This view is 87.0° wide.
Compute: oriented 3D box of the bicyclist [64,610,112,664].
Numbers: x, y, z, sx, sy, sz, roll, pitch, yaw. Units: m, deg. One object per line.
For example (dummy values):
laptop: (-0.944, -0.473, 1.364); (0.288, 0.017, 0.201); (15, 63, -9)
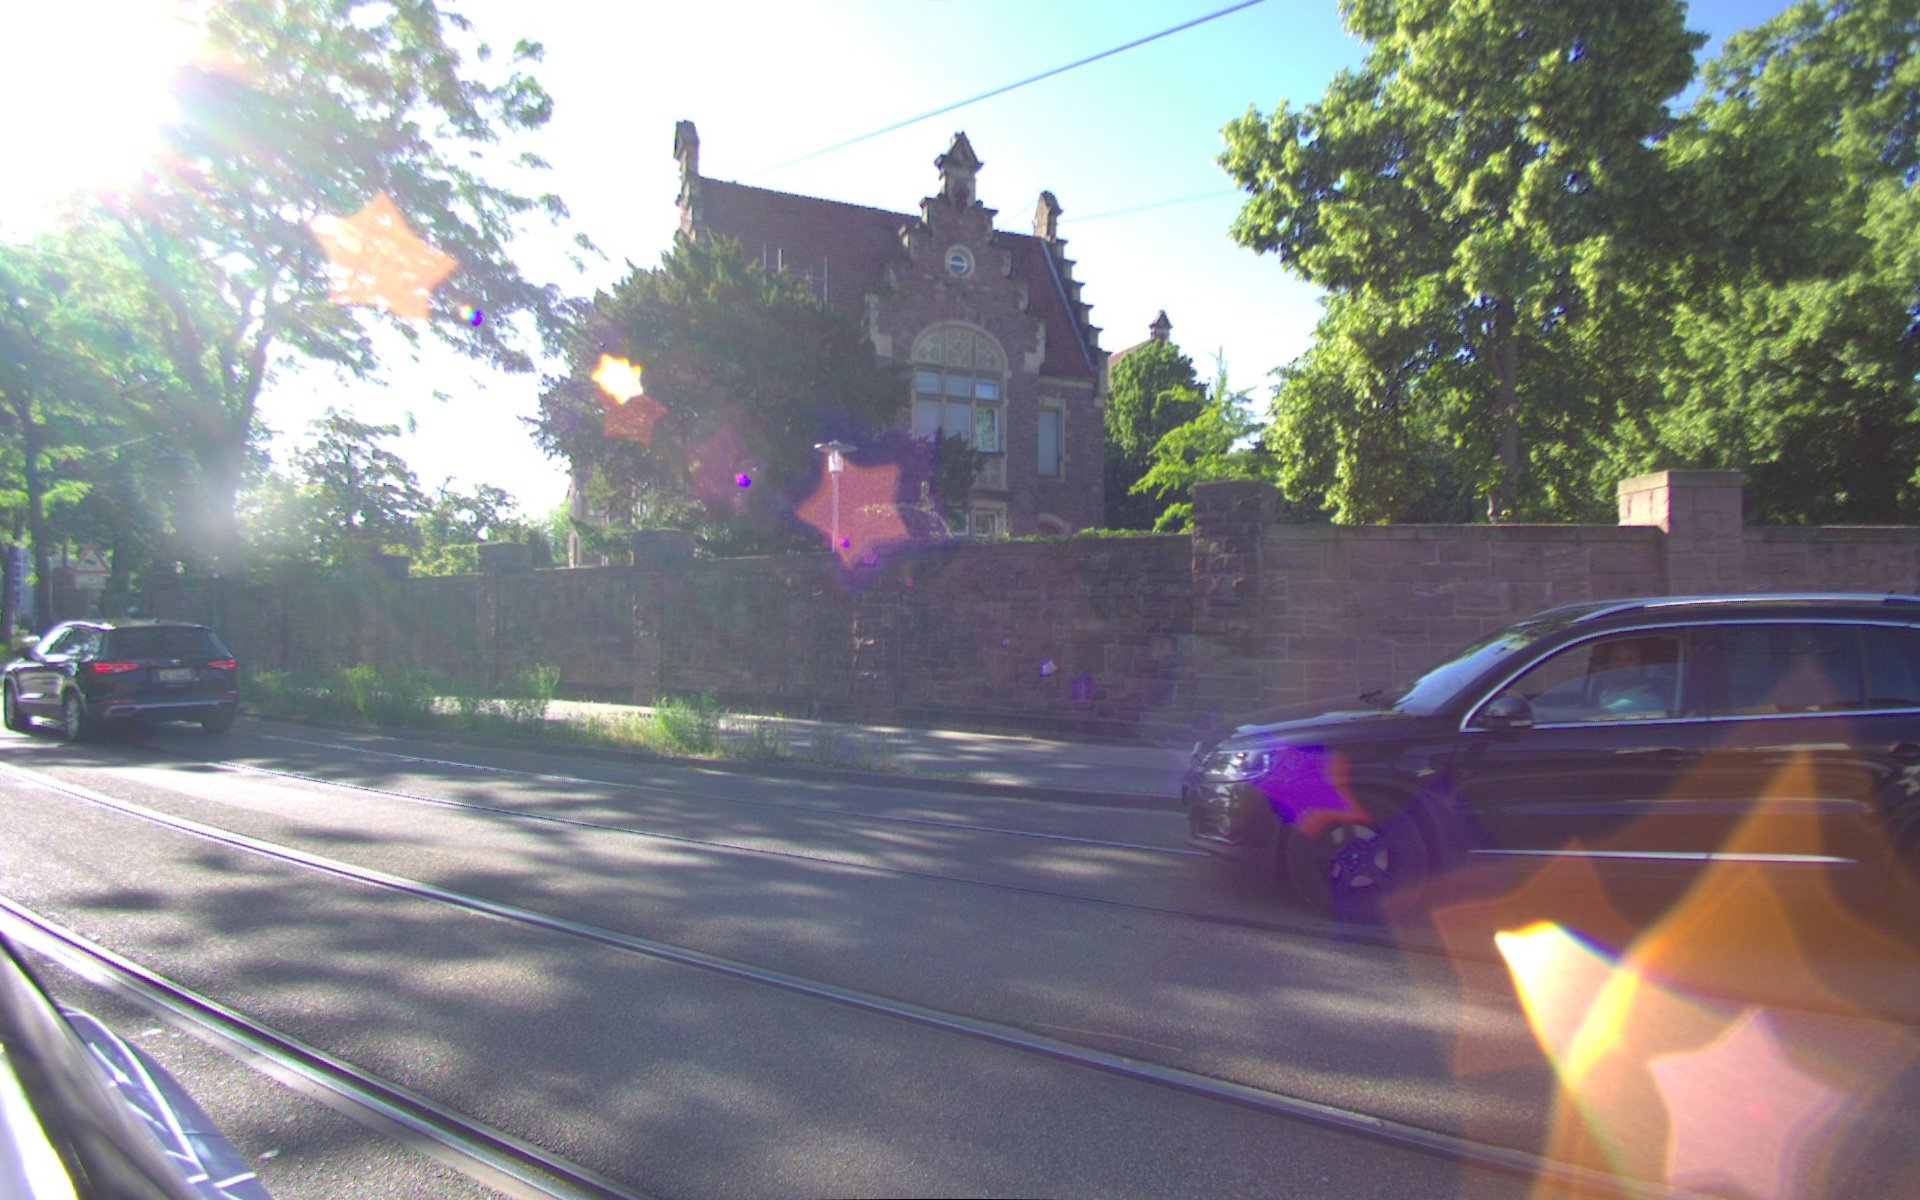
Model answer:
bicyclist: (-23.497, 0.986, 27.267); (1.271, 1.401, 0.759); (-1, -1, 39)

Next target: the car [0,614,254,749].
car: (-11.937, 1.092, 14.167); (4.103, 1.629, 1.907); (-3, -2, 31)

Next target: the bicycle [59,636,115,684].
bicycle: (-23.595, 1.590, 27.338); (2.100, 1.200, 0.765); (-1, -1, 39)

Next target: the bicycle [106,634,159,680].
bicycle: (-23.041, 1.567, 28.161); (2.086, 1.200, 0.724); (-1, -1, 39)

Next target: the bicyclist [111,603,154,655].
bicyclist: (-23.040, 0.792, 28.172); (1.059, 1.401, 0.725); (-1, -1, 39)

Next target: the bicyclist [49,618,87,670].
bicyclist: (-26.878, 1.309, 30.508); (0.750, 1.546, 0.735); (-1, -1, 38)

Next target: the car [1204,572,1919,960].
car: (3.453, 0.744, 5.450); (4.083, 1.650, 1.792); (0, -2, 17)

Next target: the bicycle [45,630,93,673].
bicycle: (-26.865, 1.529, 30.499); (2.086, 1.200, 0.738); (-1, -1, 39)
